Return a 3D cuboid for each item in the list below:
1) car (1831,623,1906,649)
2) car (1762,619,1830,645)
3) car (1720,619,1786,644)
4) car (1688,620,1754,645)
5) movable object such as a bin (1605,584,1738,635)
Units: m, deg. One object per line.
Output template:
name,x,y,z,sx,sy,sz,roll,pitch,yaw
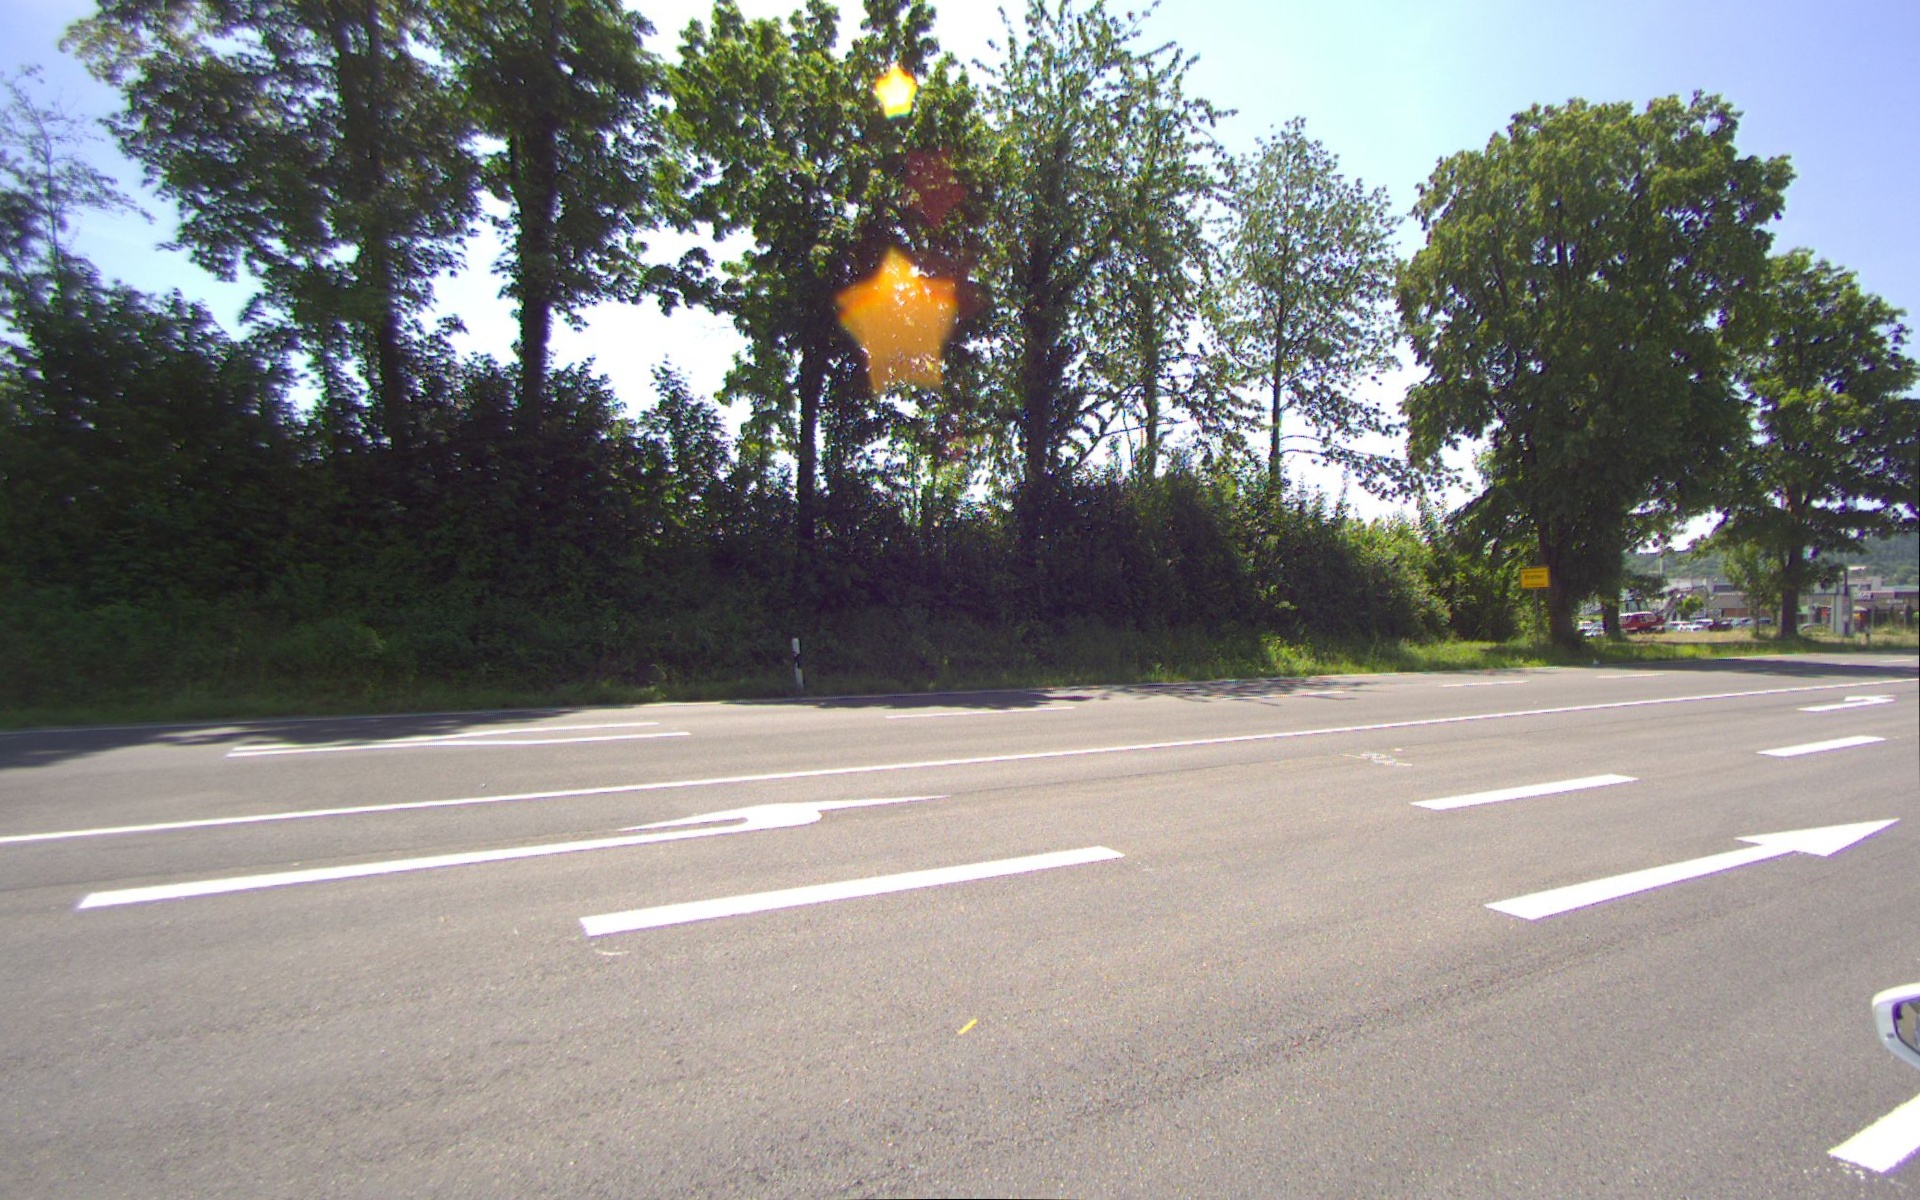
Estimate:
car,61.936,2.431,68.574,1.803,1.639,4.002,1,0,6
car,58.978,2.234,70.943,1.803,1.639,4.002,1,0,6
car,56.294,2.221,71.372,1.803,1.639,4.002,1,0,6
car,54.101,2.284,71.482,1.959,1.673,4.002,1,0,6
movable object such as a bin,47.784,0.617,67.668,6.654,3.342,3.054,0,0,10
